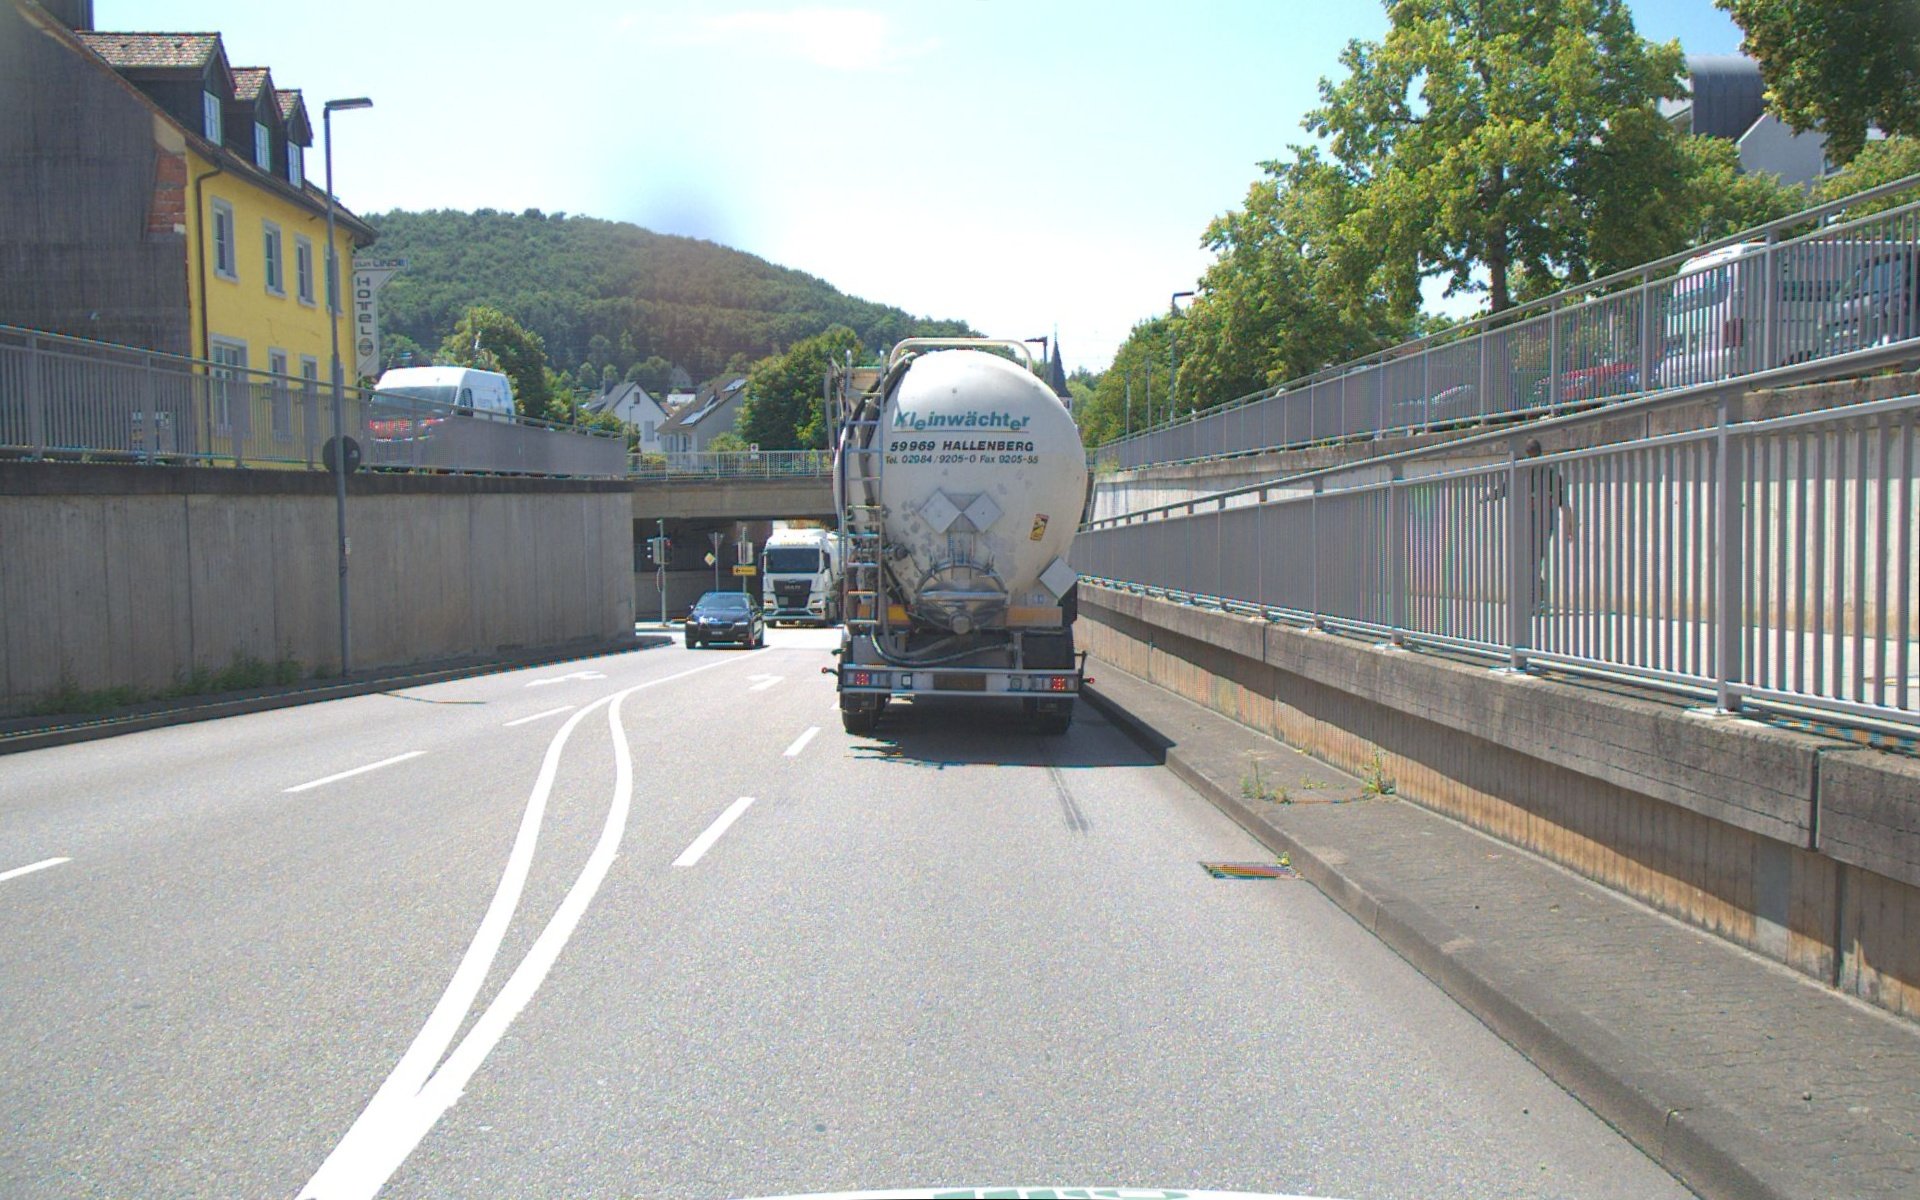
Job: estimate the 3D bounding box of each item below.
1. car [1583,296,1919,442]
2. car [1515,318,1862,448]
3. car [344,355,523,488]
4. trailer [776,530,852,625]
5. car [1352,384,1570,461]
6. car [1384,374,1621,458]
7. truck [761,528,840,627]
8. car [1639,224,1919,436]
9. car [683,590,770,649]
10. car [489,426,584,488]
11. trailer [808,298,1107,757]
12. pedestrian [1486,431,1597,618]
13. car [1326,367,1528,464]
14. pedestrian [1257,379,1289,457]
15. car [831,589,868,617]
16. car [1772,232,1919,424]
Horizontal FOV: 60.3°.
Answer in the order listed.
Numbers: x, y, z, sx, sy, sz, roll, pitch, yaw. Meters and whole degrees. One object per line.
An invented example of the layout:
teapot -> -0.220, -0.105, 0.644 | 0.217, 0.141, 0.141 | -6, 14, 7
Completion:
car -> 10.097, -2.832, 20.507 | 4.118, 1.623, 1.687 | -1, 3, 0
car -> 10.085, -2.997, 23.109 | 4.118, 1.623, 1.687 | -1, 3, 0
car -> -11.219, -3.738, 35.730 | 2.023, 2.580, 5.664 | 1, 3, 0
trailer -> -6.489, -0.963, 74.640 | 2.556, 4.033, 9.346 | 0, 0, 0
car -> 9.887, -3.506, 32.835 | 3.825, 1.391, 1.687 | -1, 3, 0
car -> 9.910, -3.356, 30.396 | 3.825, 1.391, 1.687 | -1, 3, 0
truck -> -6.583, -0.897, 68.923 | 2.607, 3.928, 6.580 | 0, 0, 0
car -> 10.446, -2.947, 18.342 | 5.007, 2.099, 1.989 | -1, 3, 0
car -> -6.270, 0.488, 44.888 | 1.724, 1.515, 4.368 | 0, 0, 0
car -> -11.374, -3.827, 44.622 | 1.586, 1.526, 4.045 | 1, 3, -1
trailer -> 0.041, -0.697, 21.617 | 2.679, 4.135, 13.313 | 0, 0, 1
pedestrian -> 5.807, -0.746, 16.545 | 0.819, 1.813, 0.788 | -1, 1, 0
car -> 9.904, -3.913, 35.266 | 3.825, 1.917, 1.687 | -1, 3, 0
pedestrian -> 7.438, -4.313, 39.320 | 0.659, 1.810, 0.594 | -1, 3, 1
car -> -6.027, 0.148, 90.515 | 1.648, 1.466, 4.094 | 2, 0, 0
car -> 10.157, -2.551, 15.642 | 4.118, 1.623, 1.687 | -1, 3, 0
